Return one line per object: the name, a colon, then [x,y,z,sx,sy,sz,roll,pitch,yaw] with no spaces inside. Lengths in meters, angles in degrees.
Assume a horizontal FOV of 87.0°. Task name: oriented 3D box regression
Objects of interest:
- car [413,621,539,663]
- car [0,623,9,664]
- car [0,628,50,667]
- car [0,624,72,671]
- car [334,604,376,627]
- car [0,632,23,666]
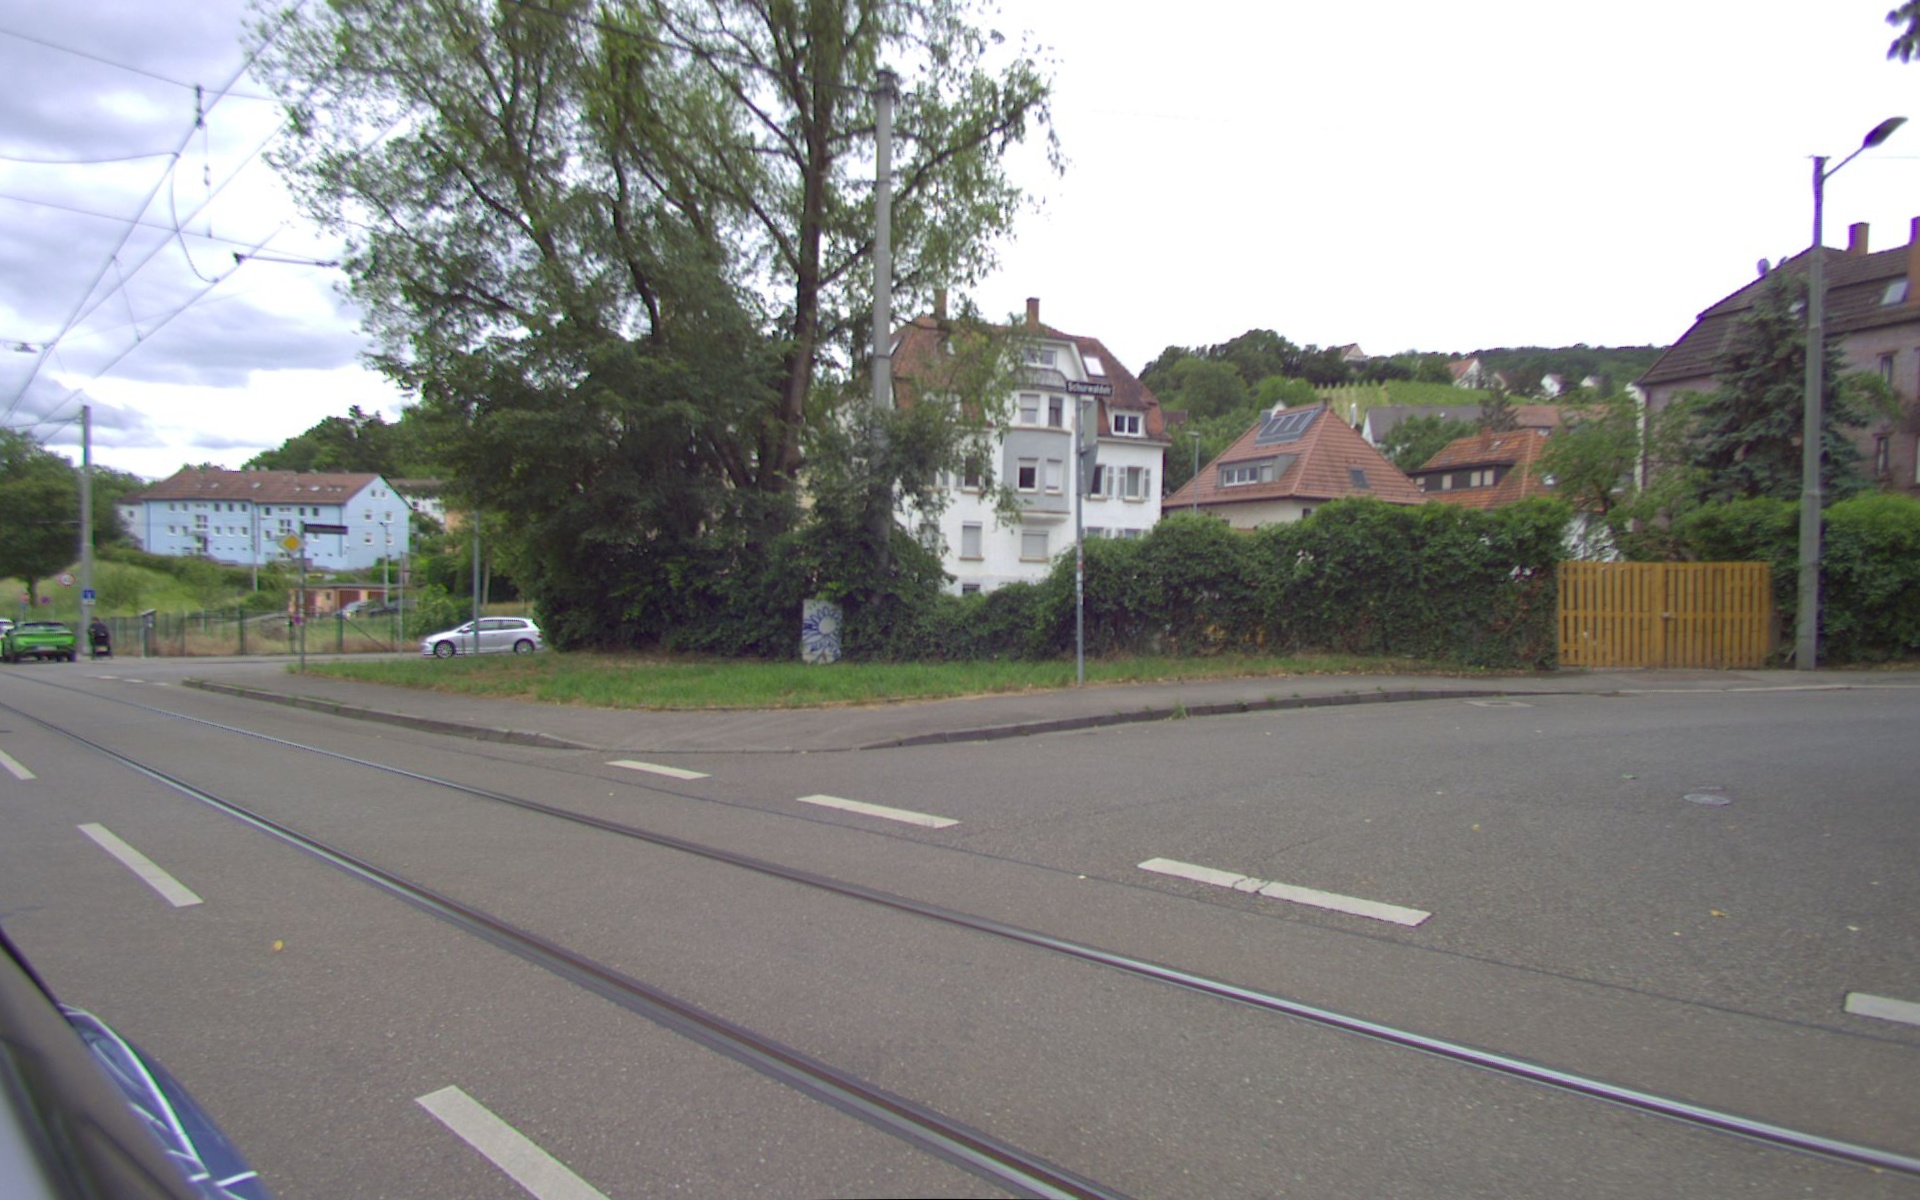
car: [-17.184,1.478,36.070,3.944,1.388,1.701,0,-1,-25]
car: [-48.250,2.120,49.651,4.289,1.961,1.877,-2,-3,41]
car: [-37.876,1.885,40.405,3.946,1.505,1.832,-2,-3,41]
car: [-33.654,1.690,36.582,3.946,1.552,1.832,-2,-1,41]
car: [-54.486,1.396,91.229,1.968,1.918,4.008,-1,-1,-10]
car: [-44.157,2.206,46.038,3.946,1.505,1.832,-2,-3,41]
